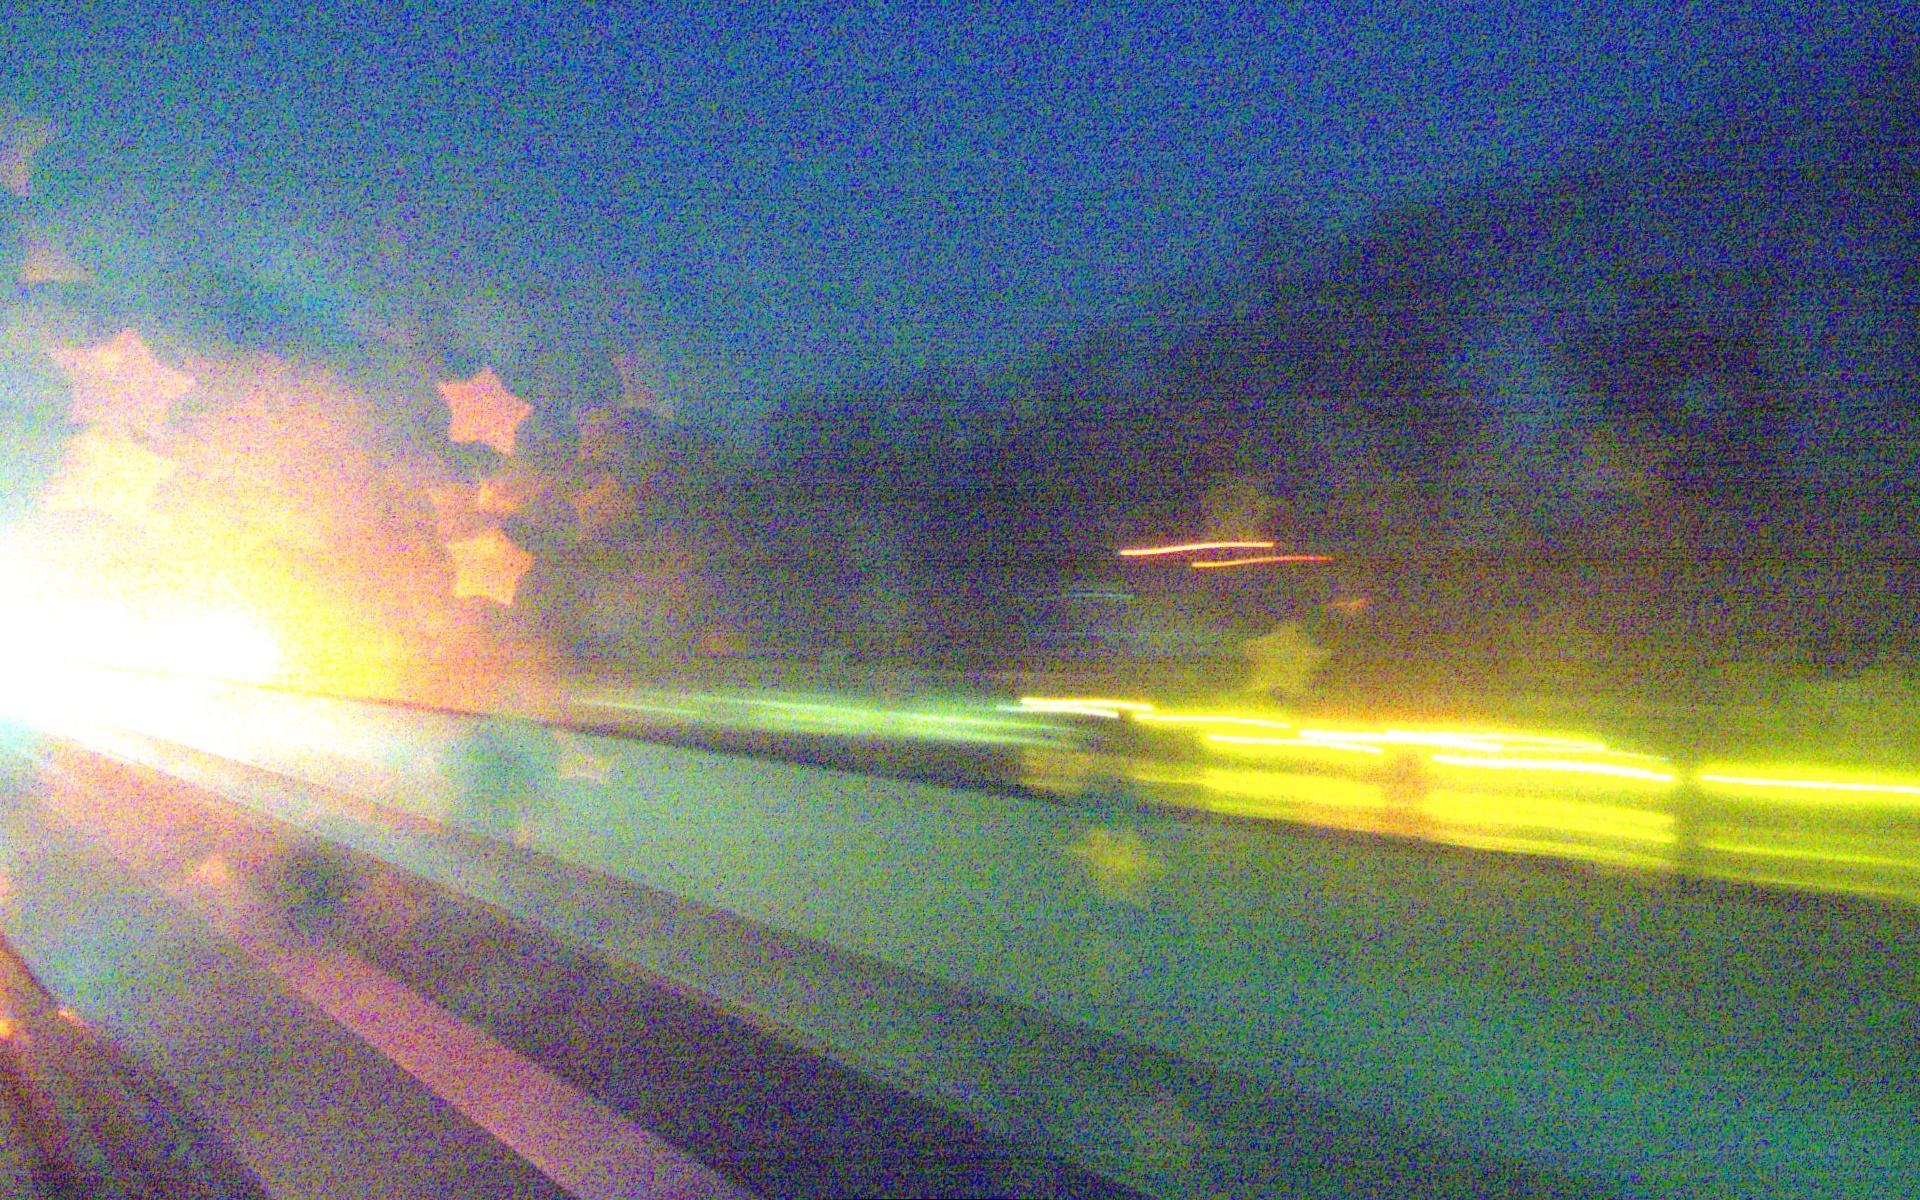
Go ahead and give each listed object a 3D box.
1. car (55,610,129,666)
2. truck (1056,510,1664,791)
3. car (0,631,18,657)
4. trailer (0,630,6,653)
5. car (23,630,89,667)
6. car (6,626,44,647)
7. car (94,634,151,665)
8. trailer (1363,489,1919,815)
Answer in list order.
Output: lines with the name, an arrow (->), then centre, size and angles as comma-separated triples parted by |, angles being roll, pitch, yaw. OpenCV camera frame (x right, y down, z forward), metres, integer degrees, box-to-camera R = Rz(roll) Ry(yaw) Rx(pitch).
car -> -78.460, 3.461, 91.401 | 10.592, 4.765, 3.666 | -3, -1, 42
truck -> 5.781, 0.752, 15.900 | 8.339, 3.321, 3.042 | -2, -3, 41
car -> -66.246, 2.992, 69.495 | 3.999, 1.697, 1.896 | -1, -3, 42
trailer -> -171.056, 7.315, 178.683 | 8.697, 3.930, 2.827 | -2, -3, 40
car -> -44.330, 2.357, 49.601 | 4.505, 1.697, 1.896 | -1, -3, 42
car -> -78.923, 3.057, 85.398 | 3.999, 1.697, 1.896 | -1, -3, 42
car -> -49.399, 2.882, 59.694 | 4.505, 1.697, 1.896 | -1, -3, 42
trailer -> 11.522, 0.551, 10.826 | 13.149, 3.321, 3.042 | -2, -3, 41
